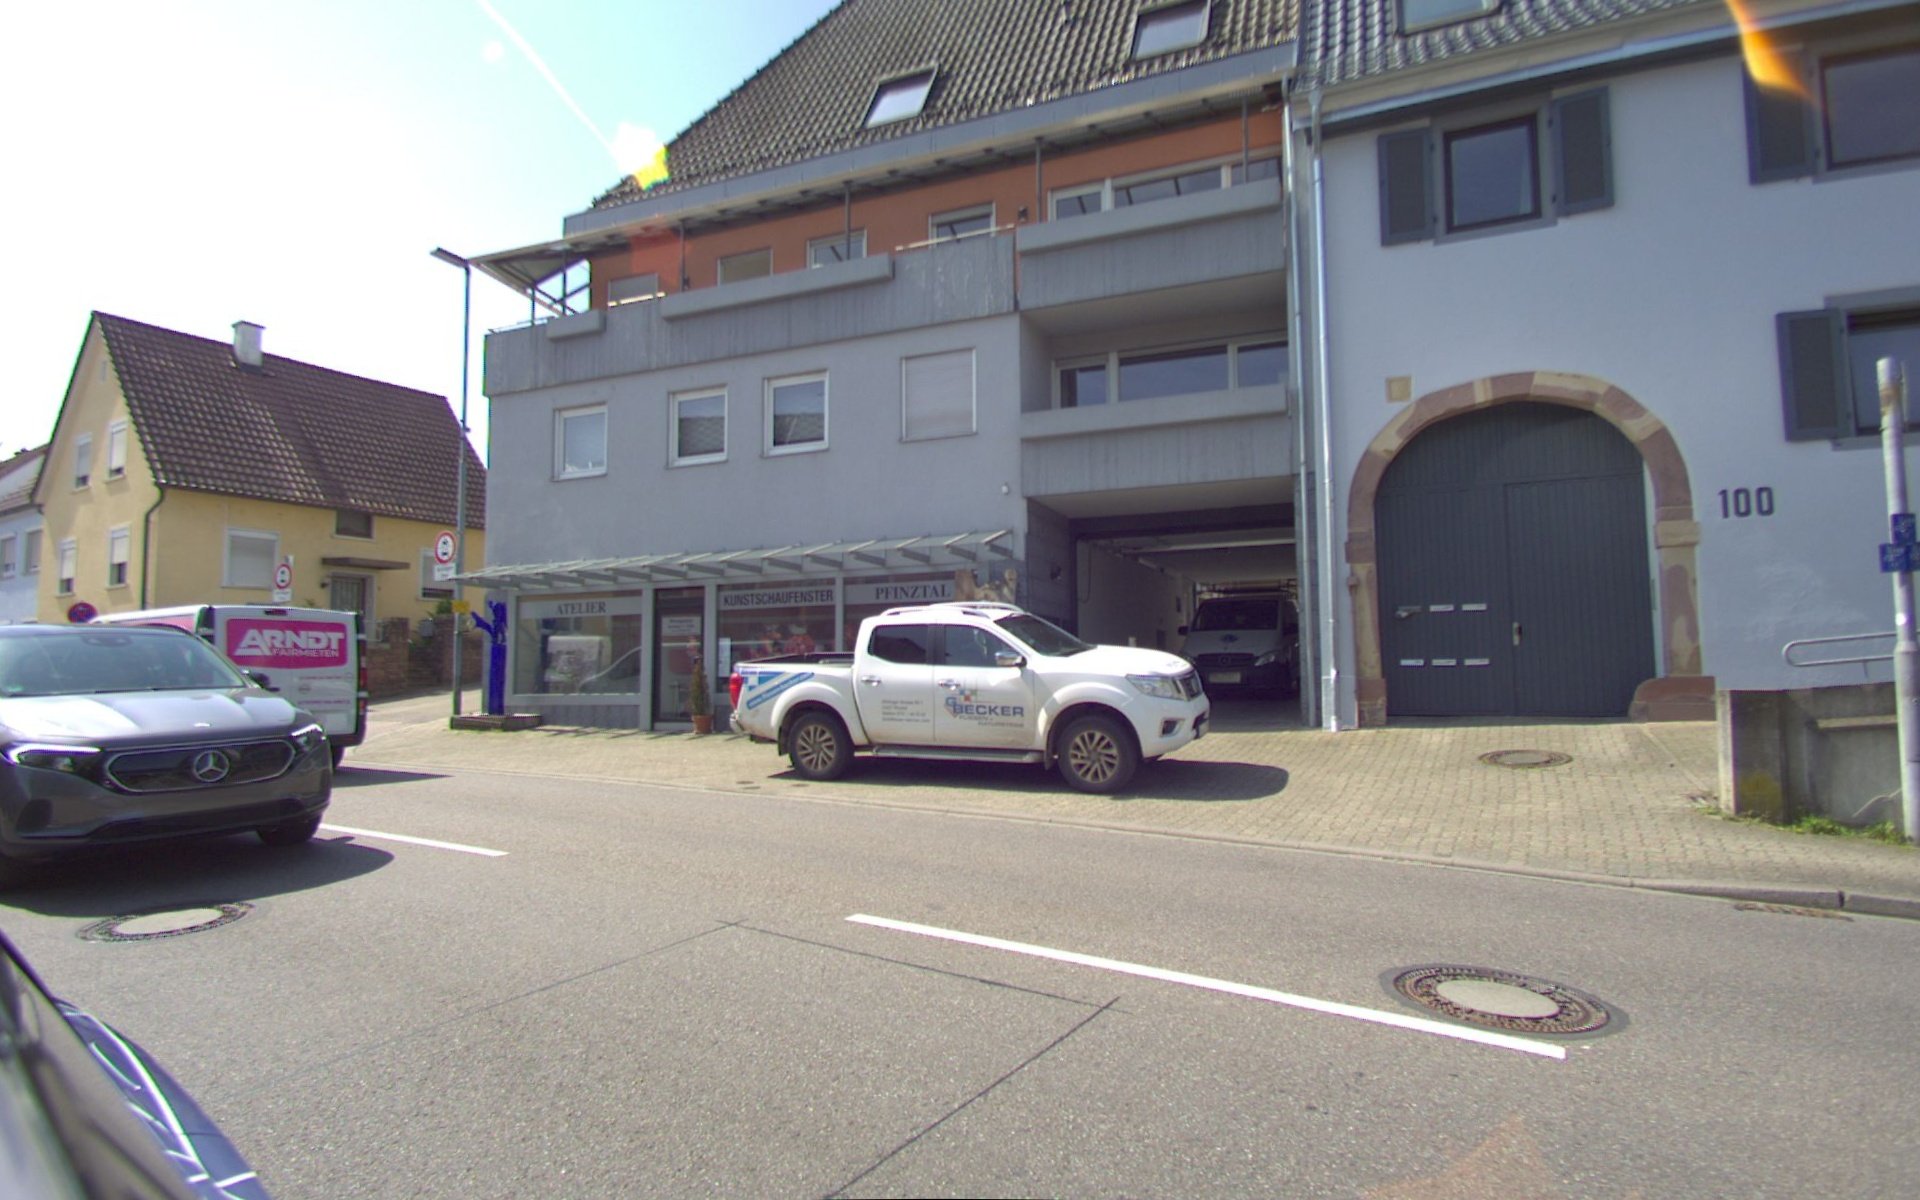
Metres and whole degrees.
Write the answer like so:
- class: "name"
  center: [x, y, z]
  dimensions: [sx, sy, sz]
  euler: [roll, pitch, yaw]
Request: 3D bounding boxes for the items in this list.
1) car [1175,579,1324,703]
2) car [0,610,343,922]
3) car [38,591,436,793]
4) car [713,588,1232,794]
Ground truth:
- class: "car"
  center: [5.471, 0.745, 18.783]
  dimensions: [1.867, 2.029, 4.085]
  euler: [-2, -2, 27]
- class: "car"
  center: [-6.214, 0.967, 7.026]
  dimensions: [4.279, 1.585, 1.718]
  euler: [-3, -3, 35]
- class: "car"
  center: [-8.698, 1.050, 12.035]
  dimensions: [5.297, 1.948, 1.953]
  euler: [-3, -5, 33]
- class: "car"
  center: [0.069, 0.921, 10.884]
  dimensions: [5.254, 1.812, 1.796]
  euler: [-3, 0, 24]
